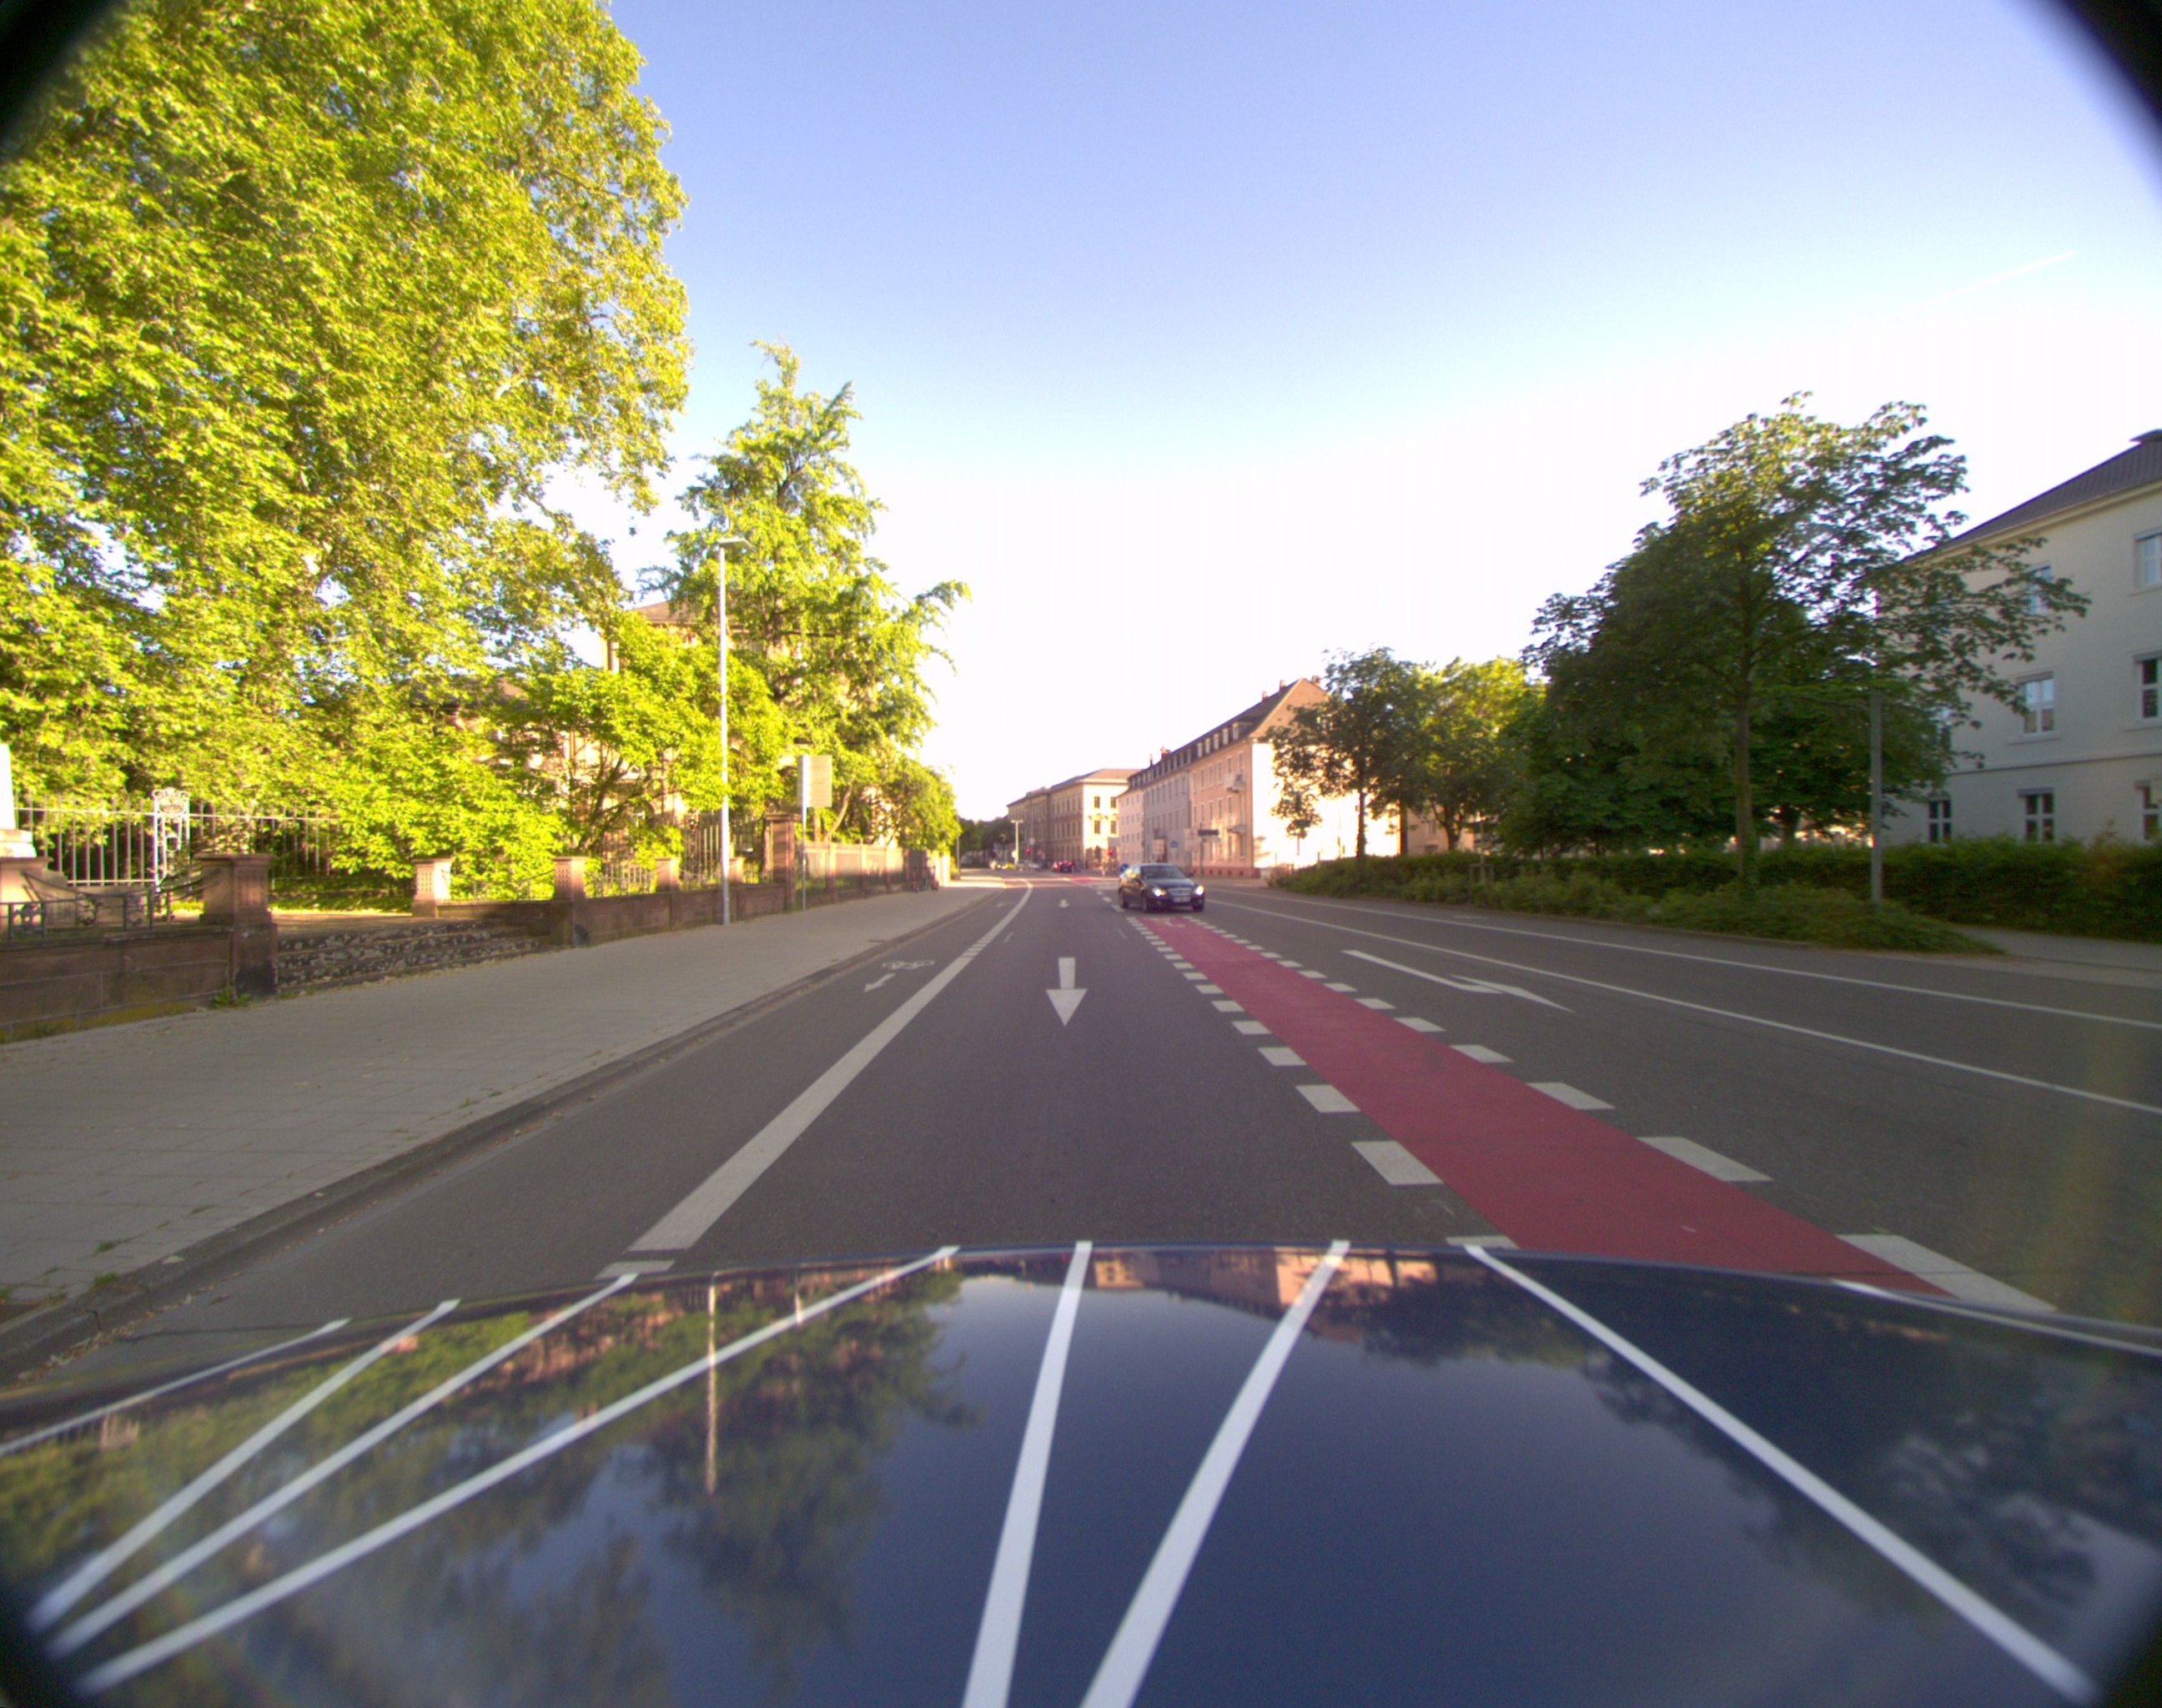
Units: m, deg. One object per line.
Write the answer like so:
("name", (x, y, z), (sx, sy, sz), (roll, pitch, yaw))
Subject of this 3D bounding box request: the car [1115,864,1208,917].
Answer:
("car", (2.310, 1.038, 23.009), (1.710, 1.397, 4.260), (0, 0, -10))

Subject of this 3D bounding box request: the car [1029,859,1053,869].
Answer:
("car", (-6.782, 1.724, 129.189), (3.694, 1.478, 1.640), (-1, 1, 20))

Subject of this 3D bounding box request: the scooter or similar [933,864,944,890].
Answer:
("scooter or similar", (-7.091, 1.137, 37.770), (0.517, 1.233, 1.521), (0, 0, -11))

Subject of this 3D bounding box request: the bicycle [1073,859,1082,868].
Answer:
("bicycle", (-0.491, 1.364, 108.889), (0.956, 1.216, 2.776), (0, 0, -9))

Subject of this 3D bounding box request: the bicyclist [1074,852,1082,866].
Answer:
("bicyclist", (-0.464, 0.680, 108.857), (0.956, 2.002, 1.307), (0, 0, -9))

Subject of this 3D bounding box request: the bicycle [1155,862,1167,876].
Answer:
("bicycle", (6.709, 1.241, 63.927), (0.697, 1.152, 2.245), (1, 0, -3))

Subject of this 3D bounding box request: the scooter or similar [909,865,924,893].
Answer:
("scooter or similar", (-7.551, 1.133, 34.836), (0.577, 1.246, 1.486), (0, 0, -15))

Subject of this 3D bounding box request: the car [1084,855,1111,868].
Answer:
("car", (2.710, 1.210, 126.767), (4.513, 2.093, 2.000), (0, 0, -1))

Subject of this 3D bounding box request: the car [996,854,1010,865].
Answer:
("car", (-14.031, 1.010, 136.642), (1.867, 1.871, 4.000), (-2, 1, 1))

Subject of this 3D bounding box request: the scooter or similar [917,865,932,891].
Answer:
("scooter or similar", (-7.564, 1.147, 36.689), (0.576, 1.177, 1.487), (0, 0, -7))

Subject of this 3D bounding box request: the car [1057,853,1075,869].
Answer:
("car", (-1.909, 0.846, 96.204), (1.999, 2.002, 3.998), (0, 0, -5))

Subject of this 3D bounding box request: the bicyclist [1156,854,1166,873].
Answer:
("bicyclist", (6.707, 0.776, 64.051), (0.691, 1.553, 0.838), (1, 0, -3))

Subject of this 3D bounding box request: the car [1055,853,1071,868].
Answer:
("car", (-2.428, 0.883, 101.887), (1.999, 2.002, 3.998), (0, 0, -5))

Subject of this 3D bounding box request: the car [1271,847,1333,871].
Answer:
("car", (16.713, 0.394, 57.559), (4.000, 1.652, 1.998), (-2, 1, -9))

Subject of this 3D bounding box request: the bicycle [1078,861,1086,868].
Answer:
("bicycle", (0.104, 1.428, 104.323), (0.663, 0.907, 2.861), (0, 0, -9))

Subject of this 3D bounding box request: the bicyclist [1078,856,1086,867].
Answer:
("bicyclist", (0.120, 1.006, 104.229), (1.026, 1.481, 0.870), (0, 0, -9))

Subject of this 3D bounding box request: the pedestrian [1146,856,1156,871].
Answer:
("pedestrian", (8.664, 1.186, 94.479), (0.949, 1.894, 1.062), (-2, 1, -7))
